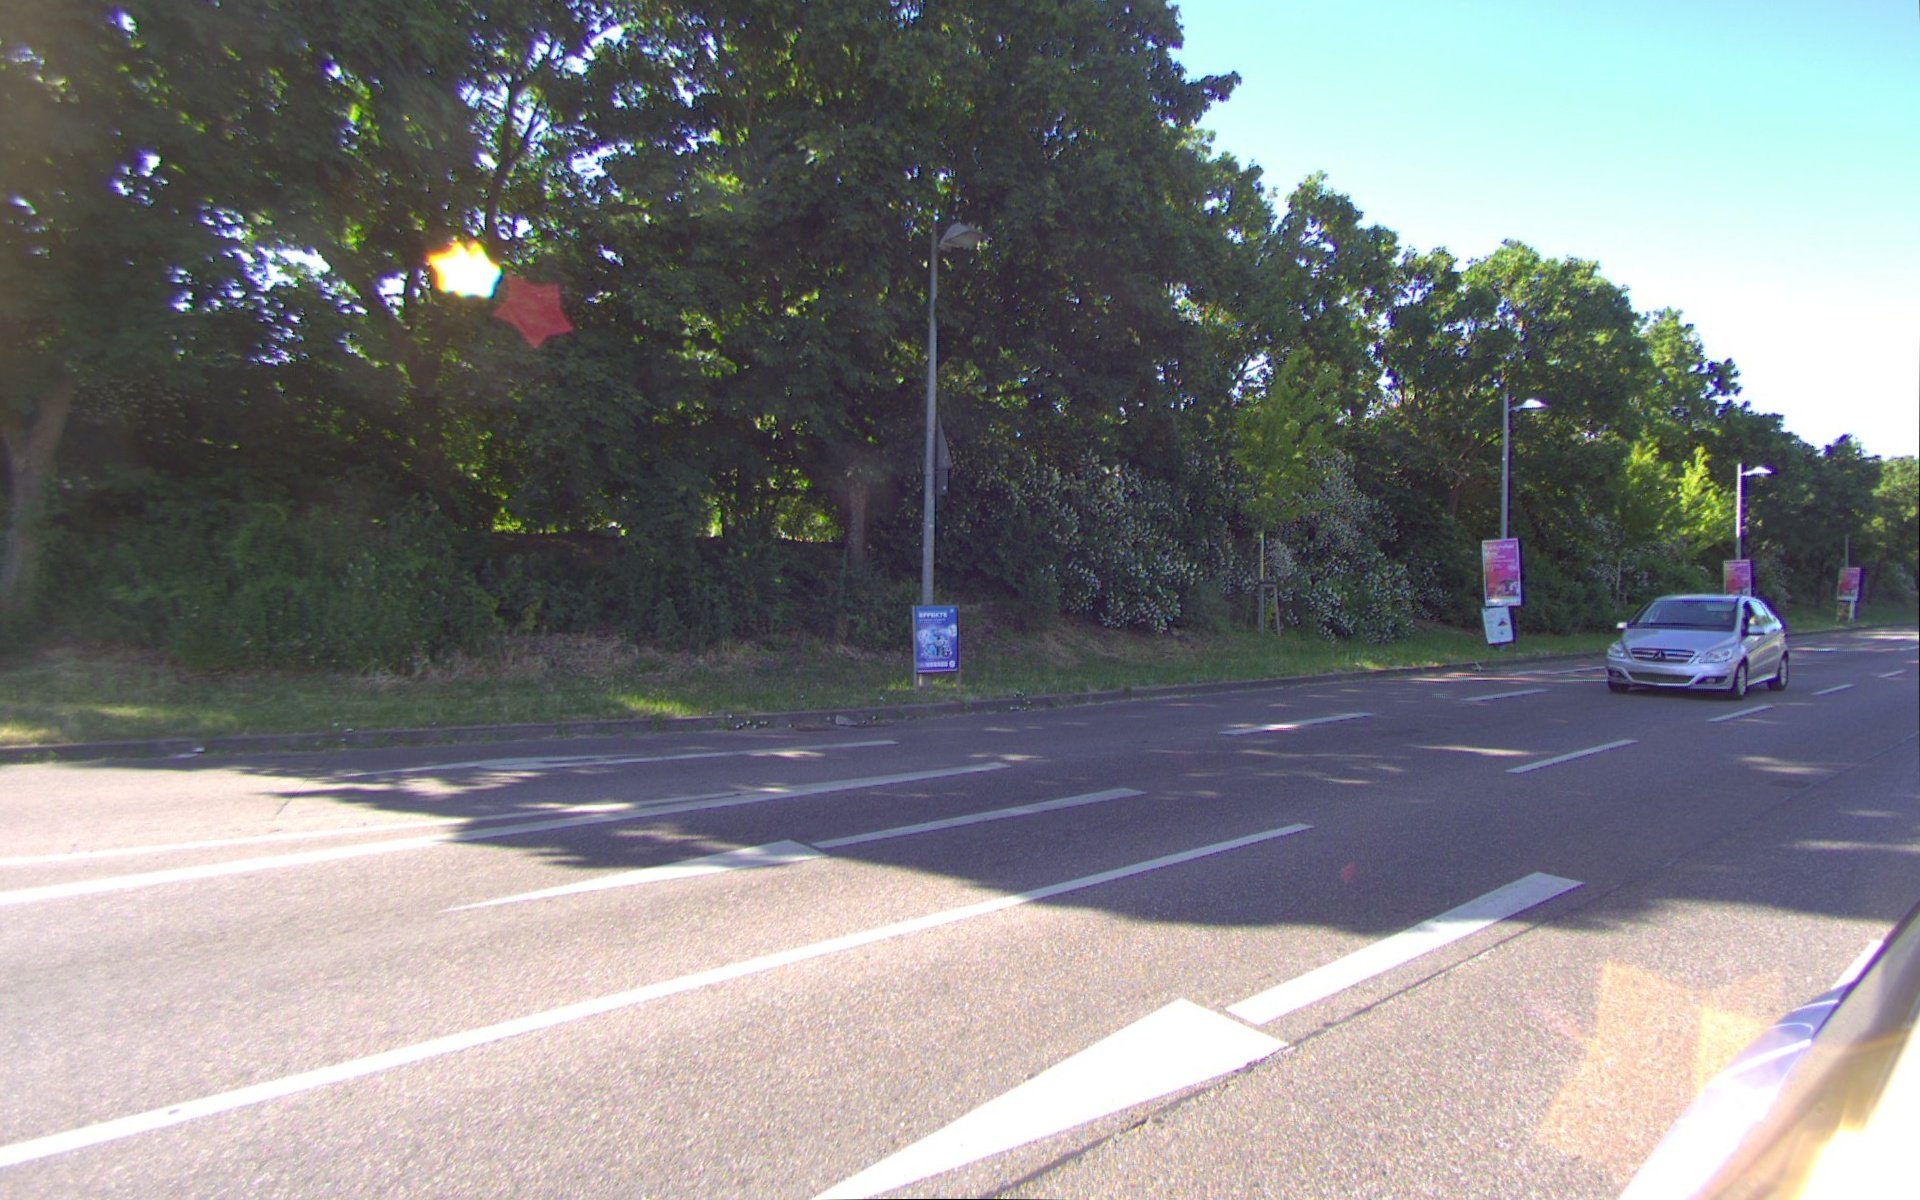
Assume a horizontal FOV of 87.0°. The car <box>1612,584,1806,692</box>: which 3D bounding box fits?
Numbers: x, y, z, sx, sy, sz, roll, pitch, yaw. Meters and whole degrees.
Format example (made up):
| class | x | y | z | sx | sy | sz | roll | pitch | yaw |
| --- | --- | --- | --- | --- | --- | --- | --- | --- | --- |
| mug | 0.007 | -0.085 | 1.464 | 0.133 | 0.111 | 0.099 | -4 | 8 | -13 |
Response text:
| class | x | y | z | sx | sy | sz | roll | pitch | yaw |
| --- | --- | --- | --- | --- | --- | --- | --- | --- | --- |
| car | 12.312 | 0.539 | 16.551 | 3.988 | 1.559 | 1.672 | 0 | 0 | -40 |
